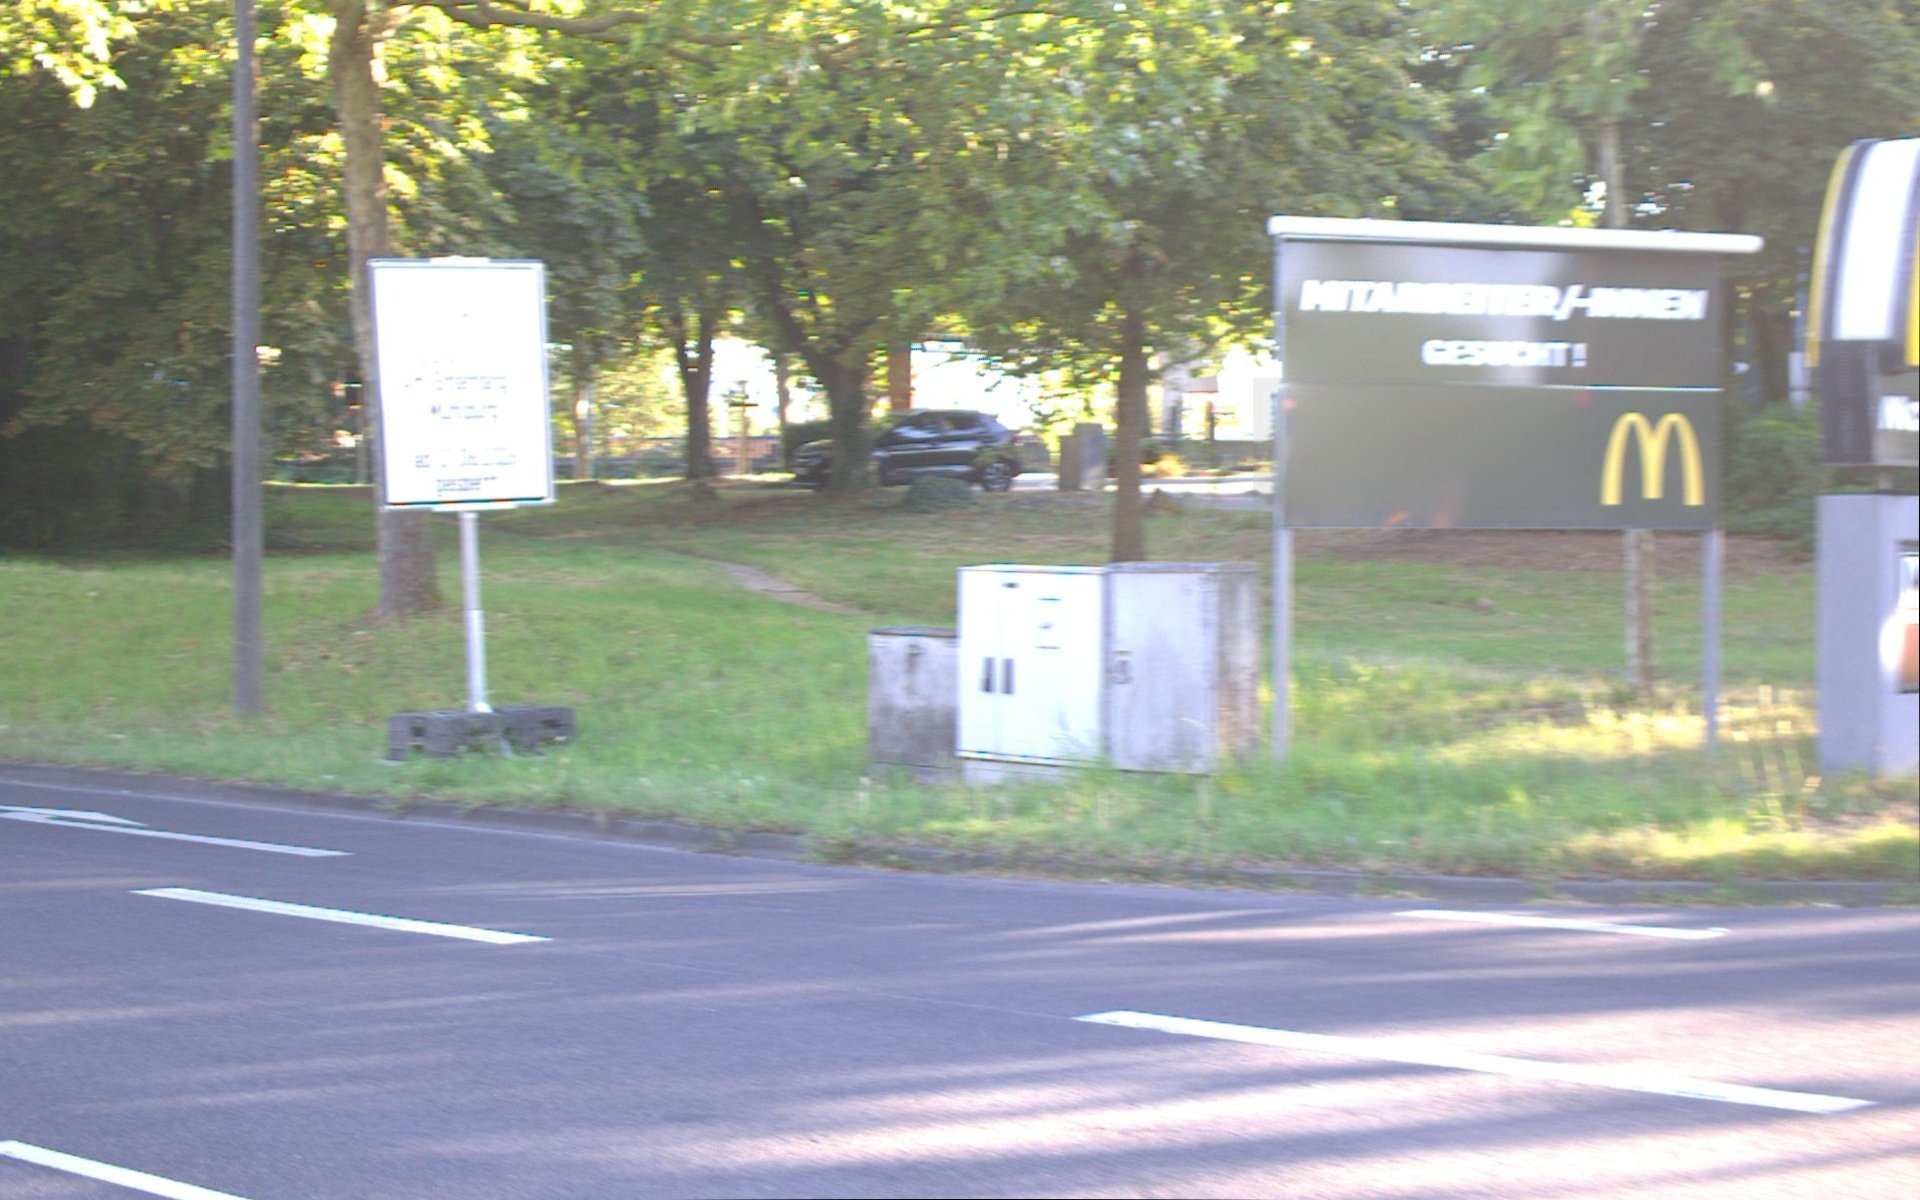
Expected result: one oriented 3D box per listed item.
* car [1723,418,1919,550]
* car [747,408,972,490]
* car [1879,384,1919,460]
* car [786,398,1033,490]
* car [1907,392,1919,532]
[{"bbox_3d":[12.123,-1.564,45.869,1.827,1.682,4.214,1,3,45],"label":"car"},{"bbox_3d":[-1.953,-2.953,67.164,3.986,1.546,1.808,-2,2,-27],"label":"car"},{"bbox_3d":[21.312,-3.719,71.299,3.994,1.546,1.805,0,2,30],"label":"car"},{"bbox_3d":[-0.865,-2.728,59.961,3.988,1.546,1.807,-2,2,-37],"label":"car"},{"bbox_3d":[14.112,-1.750,42.629,4.885,1.700,2.000,-3,3,-37],"label":"car"}]
